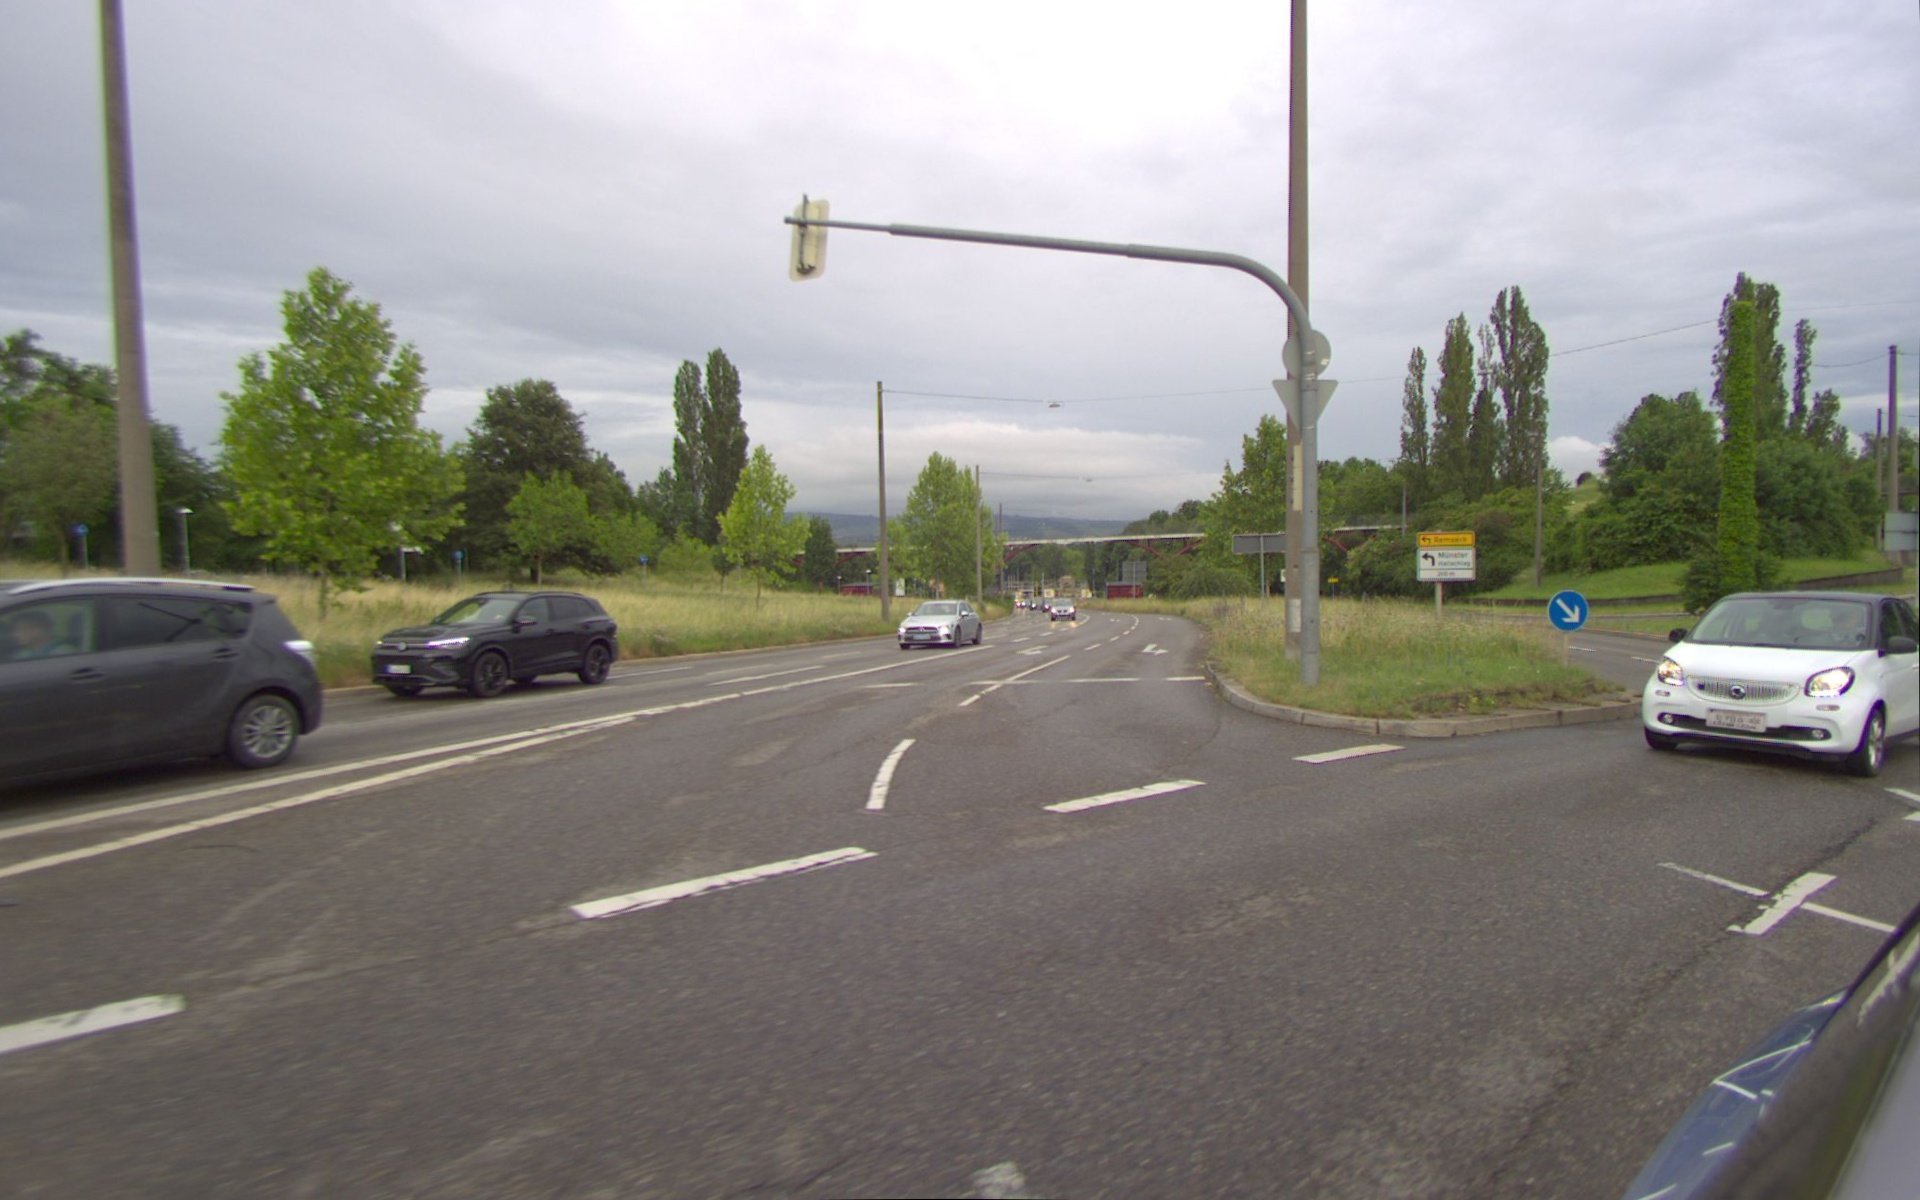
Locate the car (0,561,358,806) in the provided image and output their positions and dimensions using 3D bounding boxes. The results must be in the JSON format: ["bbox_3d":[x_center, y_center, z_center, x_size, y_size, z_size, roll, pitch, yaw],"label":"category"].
[{"bbox_3d":[-7.299,0.556,7.673,1.973,1.663,4.604,0,1,17],"label":"car"}]

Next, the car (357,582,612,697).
[{"bbox_3d":[-7.734,0.560,16.891,1.697,1.663,3.867,-1,1,17],"label":"car"}]

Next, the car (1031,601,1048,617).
[{"bbox_3d":[10.768,1.166,136.843,1.967,2.039,3.989,0,1,10],"label":"car"}]

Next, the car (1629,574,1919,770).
[{"bbox_3d":[8.416,0.546,9.877,4.146,1.541,1.727,0,1,-35],"label":"car"}]

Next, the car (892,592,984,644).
[{"bbox_3d":[-0.592,0.491,30.759,1.724,1.445,3.980,0,1,16],"label":"car"}]

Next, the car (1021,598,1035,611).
[{"bbox_3d":[11.173,0.746,165.562,1.967,2.039,3.989,0,1,10],"label":"car"}]

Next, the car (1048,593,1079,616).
[{"bbox_3d":[7.037,0.272,68.476,1.842,1.504,3.988,0,1,10],"label":"car"}]
